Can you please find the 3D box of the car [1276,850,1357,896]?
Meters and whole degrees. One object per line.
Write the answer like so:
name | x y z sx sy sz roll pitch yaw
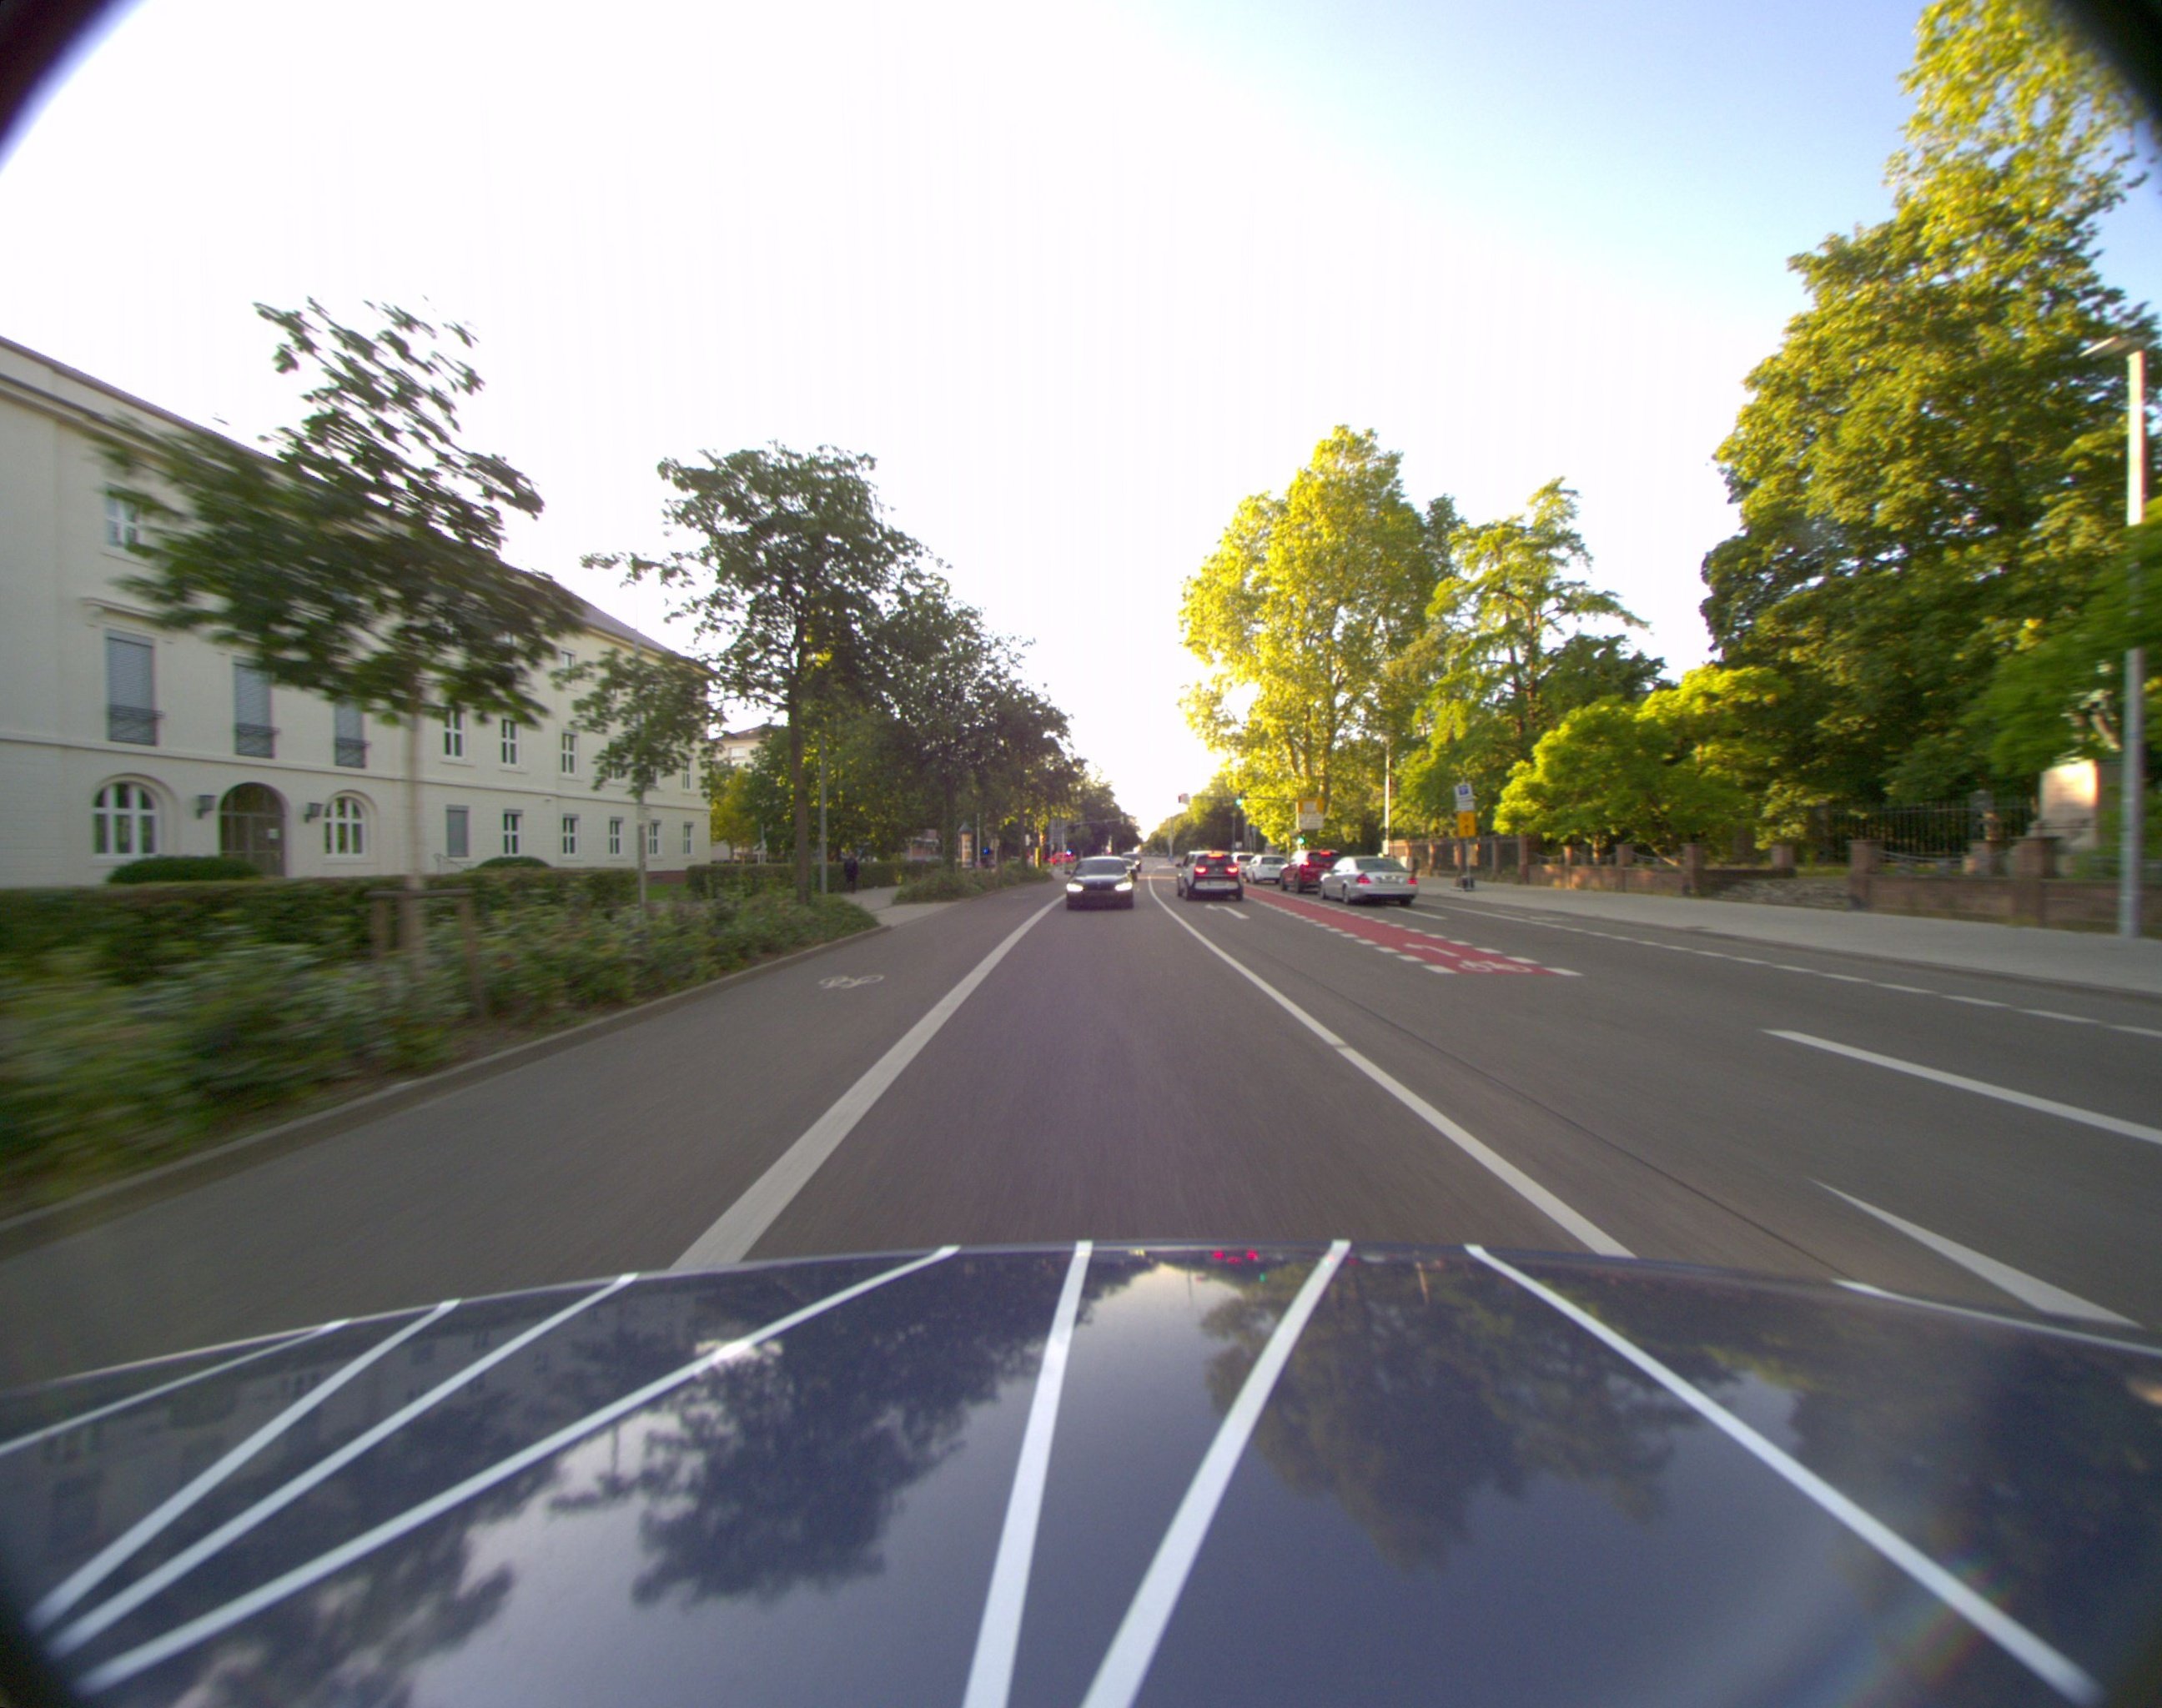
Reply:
car | 8.966 0.672 29.325 1.920 1.615 4.640 1 0 4

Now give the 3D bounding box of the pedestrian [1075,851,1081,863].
pedestrian | -0.426 0.443 105.780 0.721 1.650 0.776 -1 1 -2

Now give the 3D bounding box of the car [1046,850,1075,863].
car | -3.844 0.527 144.002 5.161 2.379 2.002 -1 0 10

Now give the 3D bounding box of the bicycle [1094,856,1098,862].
bicycle | 2.959 0.932 149.028 0.571 1.233 1.900 -1 0 8

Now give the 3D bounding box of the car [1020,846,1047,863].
car | -9.179 0.130 147.212 2.768 3.224 8.306 -1 0 14

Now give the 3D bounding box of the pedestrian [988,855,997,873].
pedestrian | -8.769 0.975 75.179 0.682 1.743 0.689 -1 0 8

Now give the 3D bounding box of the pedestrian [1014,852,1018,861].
pedestrian | -12.744 0.481 148.626 0.682 1.831 0.846 -1 0 7

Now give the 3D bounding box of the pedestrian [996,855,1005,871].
pedestrian | -7.923 0.893 75.005 0.682 1.613 0.845 -1 0 8

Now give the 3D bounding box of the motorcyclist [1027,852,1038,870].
motorcyclist | -4.704 0.657 74.175 0.692 1.727 0.738 -2 0 -42

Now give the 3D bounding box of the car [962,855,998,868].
car | -13.409 0.990 100.704 4.231 1.730 1.921 -1 0 13

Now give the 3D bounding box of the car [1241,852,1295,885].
car | 9.619 0.701 39.403 1.920 1.574 4.675 1 0 4

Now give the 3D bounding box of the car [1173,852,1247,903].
car | 4.150 0.714 25.081 1.853 1.517 4.000 0 0 1

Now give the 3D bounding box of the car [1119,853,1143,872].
car | 4.272 0.685 64.777 1.849 1.473 4.705 -4 0 5

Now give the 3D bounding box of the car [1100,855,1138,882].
car | 2.258 0.790 43.929 1.849 1.346 4.705 -4 0 6

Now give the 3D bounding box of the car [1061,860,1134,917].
car | 0.586 0.886 21.612 1.817 1.391 5.215 -1 0 4

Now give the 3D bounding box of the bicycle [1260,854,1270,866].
bicycle | 19.177 0.646 79.168 0.790 1.249 1.981 -1 0 7

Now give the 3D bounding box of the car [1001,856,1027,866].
car | -10.206 1.031 115.720 3.660 1.451 1.666 -1 0 12

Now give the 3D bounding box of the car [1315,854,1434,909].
car | 8.491 0.723 22.458 1.920 1.409 4.771 1 0 4

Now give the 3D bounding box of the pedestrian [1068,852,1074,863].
pedestrian | -1.388 0.453 105.710 0.737 1.514 0.789 -1 1 -2

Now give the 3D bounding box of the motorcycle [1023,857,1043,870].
motorcycle | -4.691 0.966 74.171 1.897 1.190 0.682 -2 0 -42

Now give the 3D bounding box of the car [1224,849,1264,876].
car | 10.763 0.536 50.360 1.920 1.686 4.428 1 0 4

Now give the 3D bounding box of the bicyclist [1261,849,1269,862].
bicyclist | 19.162 0.149 79.139 0.790 1.418 0.892 -1 1 7

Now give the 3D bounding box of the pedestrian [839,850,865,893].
pedestrian | -9.298 0.712 30.904 0.772 1.728 0.807 -1 1 -2

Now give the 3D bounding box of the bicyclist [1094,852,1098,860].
bicyclist | 2.920 0.346 148.796 0.571 1.623 1.038 -1 0 8
